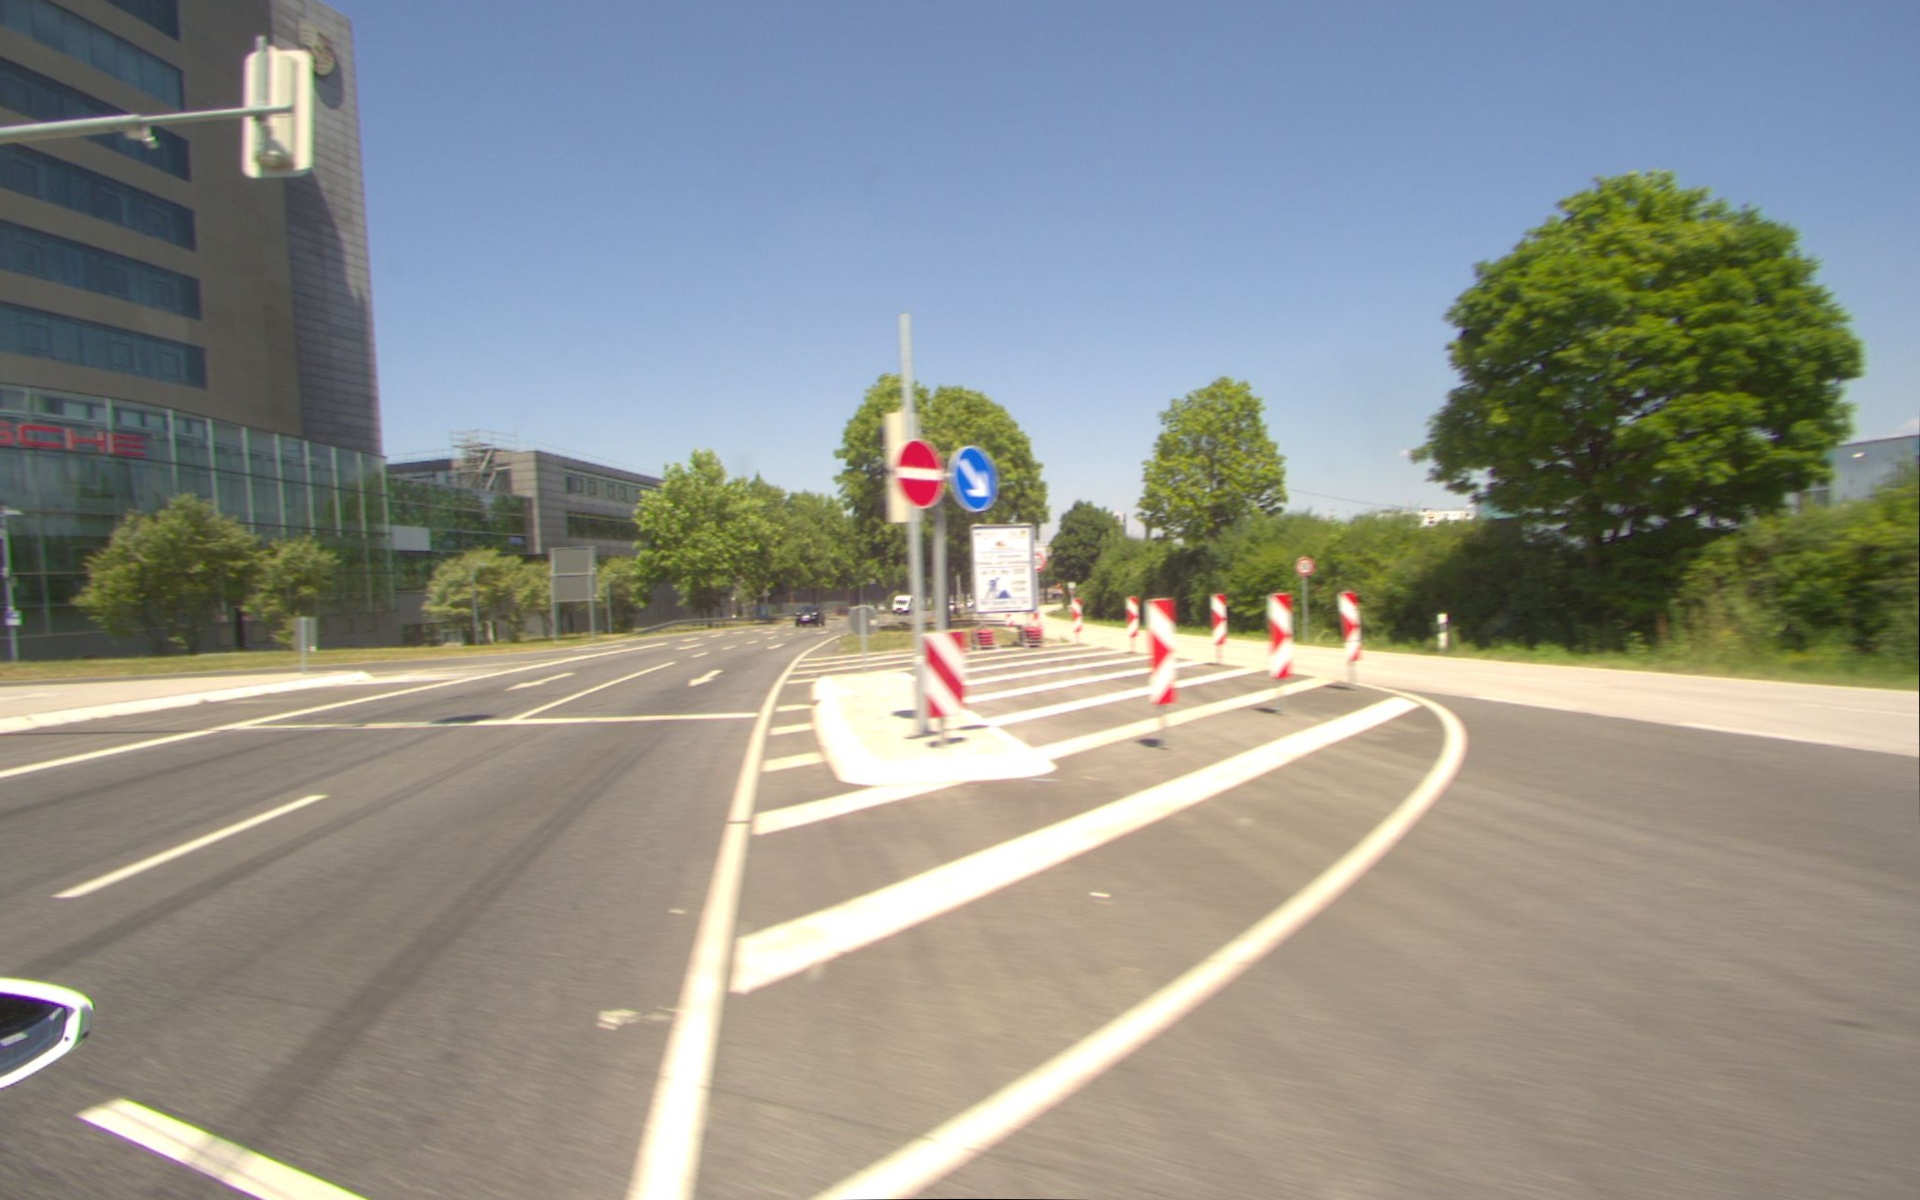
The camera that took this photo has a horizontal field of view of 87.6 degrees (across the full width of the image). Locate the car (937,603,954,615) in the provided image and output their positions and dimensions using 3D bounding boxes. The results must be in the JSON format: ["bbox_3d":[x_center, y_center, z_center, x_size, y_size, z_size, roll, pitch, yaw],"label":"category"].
[{"bbox_3d":[-2.104,1.241,142.666,1.704,1.684,3.998,-1,0,9],"label":"car"}]

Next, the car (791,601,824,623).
[{"bbox_3d":[-11.621,0.877,76.705,1.634,1.610,4.000,-1,0,4],"label":"car"}]

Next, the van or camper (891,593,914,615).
[{"bbox_3d":[-7.428,0.552,129.661,1.962,2.718,3.998,-1,0,10],"label":"van or camper"}]
